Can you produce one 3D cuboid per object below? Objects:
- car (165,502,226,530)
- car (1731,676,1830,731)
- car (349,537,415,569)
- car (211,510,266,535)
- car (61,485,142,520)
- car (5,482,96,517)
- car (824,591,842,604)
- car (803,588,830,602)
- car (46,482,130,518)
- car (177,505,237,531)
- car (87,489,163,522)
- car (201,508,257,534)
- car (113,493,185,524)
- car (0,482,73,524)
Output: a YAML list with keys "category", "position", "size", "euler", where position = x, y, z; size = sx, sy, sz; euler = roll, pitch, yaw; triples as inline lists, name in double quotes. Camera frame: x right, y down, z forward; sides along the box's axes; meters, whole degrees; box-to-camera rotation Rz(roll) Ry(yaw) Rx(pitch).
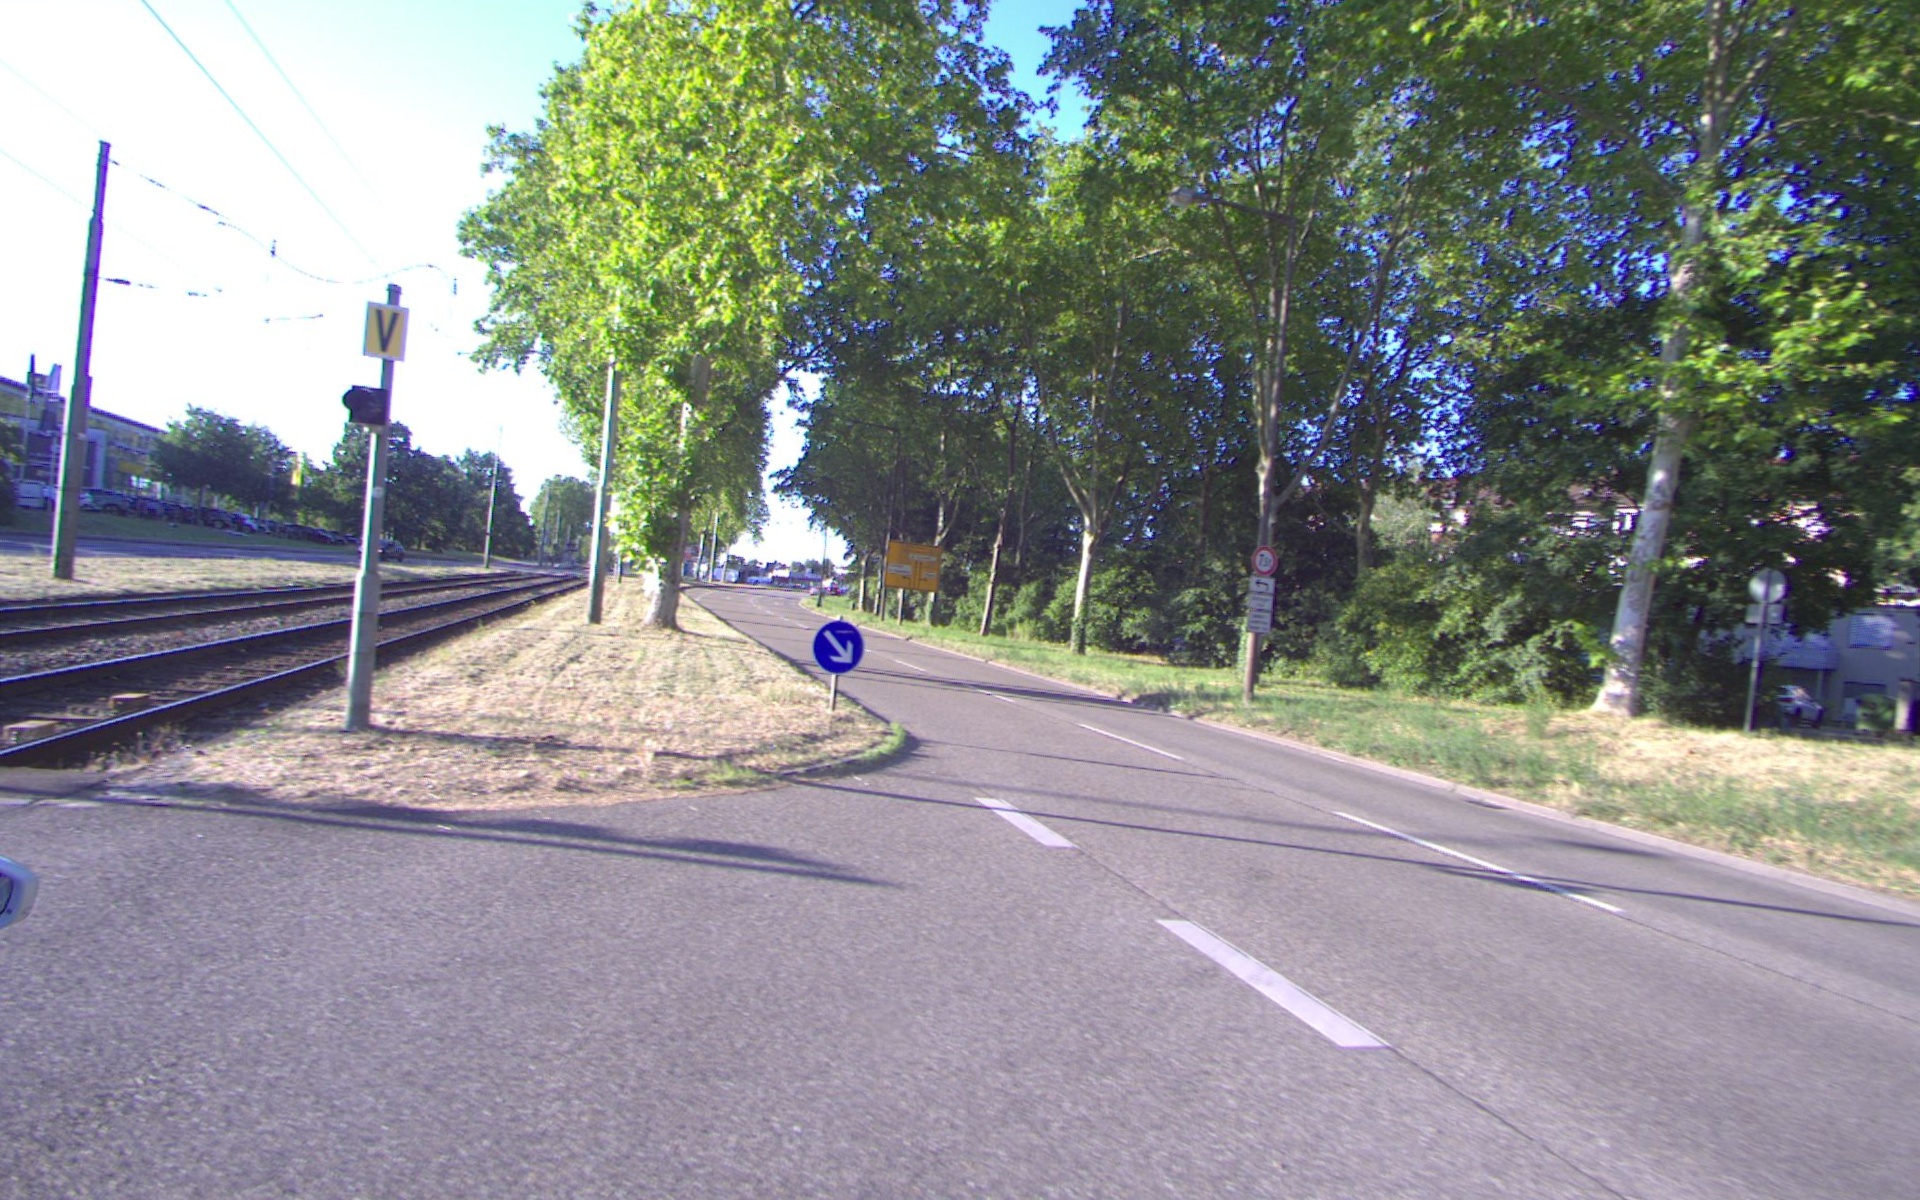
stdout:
- category: "car"
  position: [-60.854, -6.656, 80.149]
  size: [3.768, 1.586, 1.742]
  euler: [8, -1, -37]
- category: "car"
  position: [32.609, 4.120, 39.943]
  size: [3.963, 1.726, 1.901]
  euler: [7, -1, -35]
- category: "car"
  position: [-38.584, -3.113, 67.293]
  size: [1.780, 1.704, 4.001]
  euler: [6, 0, 4]
- category: "car"
  position: [-63.573, -6.825, 88.655]
  size: [3.768, 1.586, 1.742]
  euler: [8, -1, -37]
- category: "car"
  position: [-56.112, -6.351, 65.827]
  size: [3.768, 1.586, 1.742]
  euler: [8, -1, -37]
- category: "car"
  position: [-53.743, -5.888, 59.534]
  size: [3.768, 1.405, 1.742]
  euler: [8, -1, -37]
- category: "car"
  position: [-17.677, -0.323, 140.214]
  size: [1.963, 1.457, 4.000]
  euler: [7, -1, 0]
- category: "car"
  position: [-18.391, -0.611, 129.344]
  size: [1.962, 1.459, 4.002]
  euler: [7, -1, 14]
- category: "car"
  position: [-54.762, -6.235, 63.287]
  size: [3.768, 1.586, 1.742]
  euler: [8, -1, -37]
- category: "car"
  position: [-61.903, -6.734, 82.745]
  size: [3.768, 1.586, 1.742]
  euler: [8, -1, -37]
- category: "car"
  position: [-56.688, -6.372, 68.414]
  size: [3.768, 1.586, 1.742]
  euler: [8, -1, -37]
- category: "car"
  position: [-62.514, -6.745, 86.079]
  size: [3.768, 1.586, 1.742]
  euler: [8, -1, -37]
- category: "car"
  position: [-57.698, -6.496, 71.663]
  size: [3.768, 1.586, 1.742]
  euler: [8, -1, -37]
- category: "car"
  position: [-52.569, -5.481, 56.538]
  size: [3.768, 1.882, 1.742]
  euler: [7, -1, -37]
